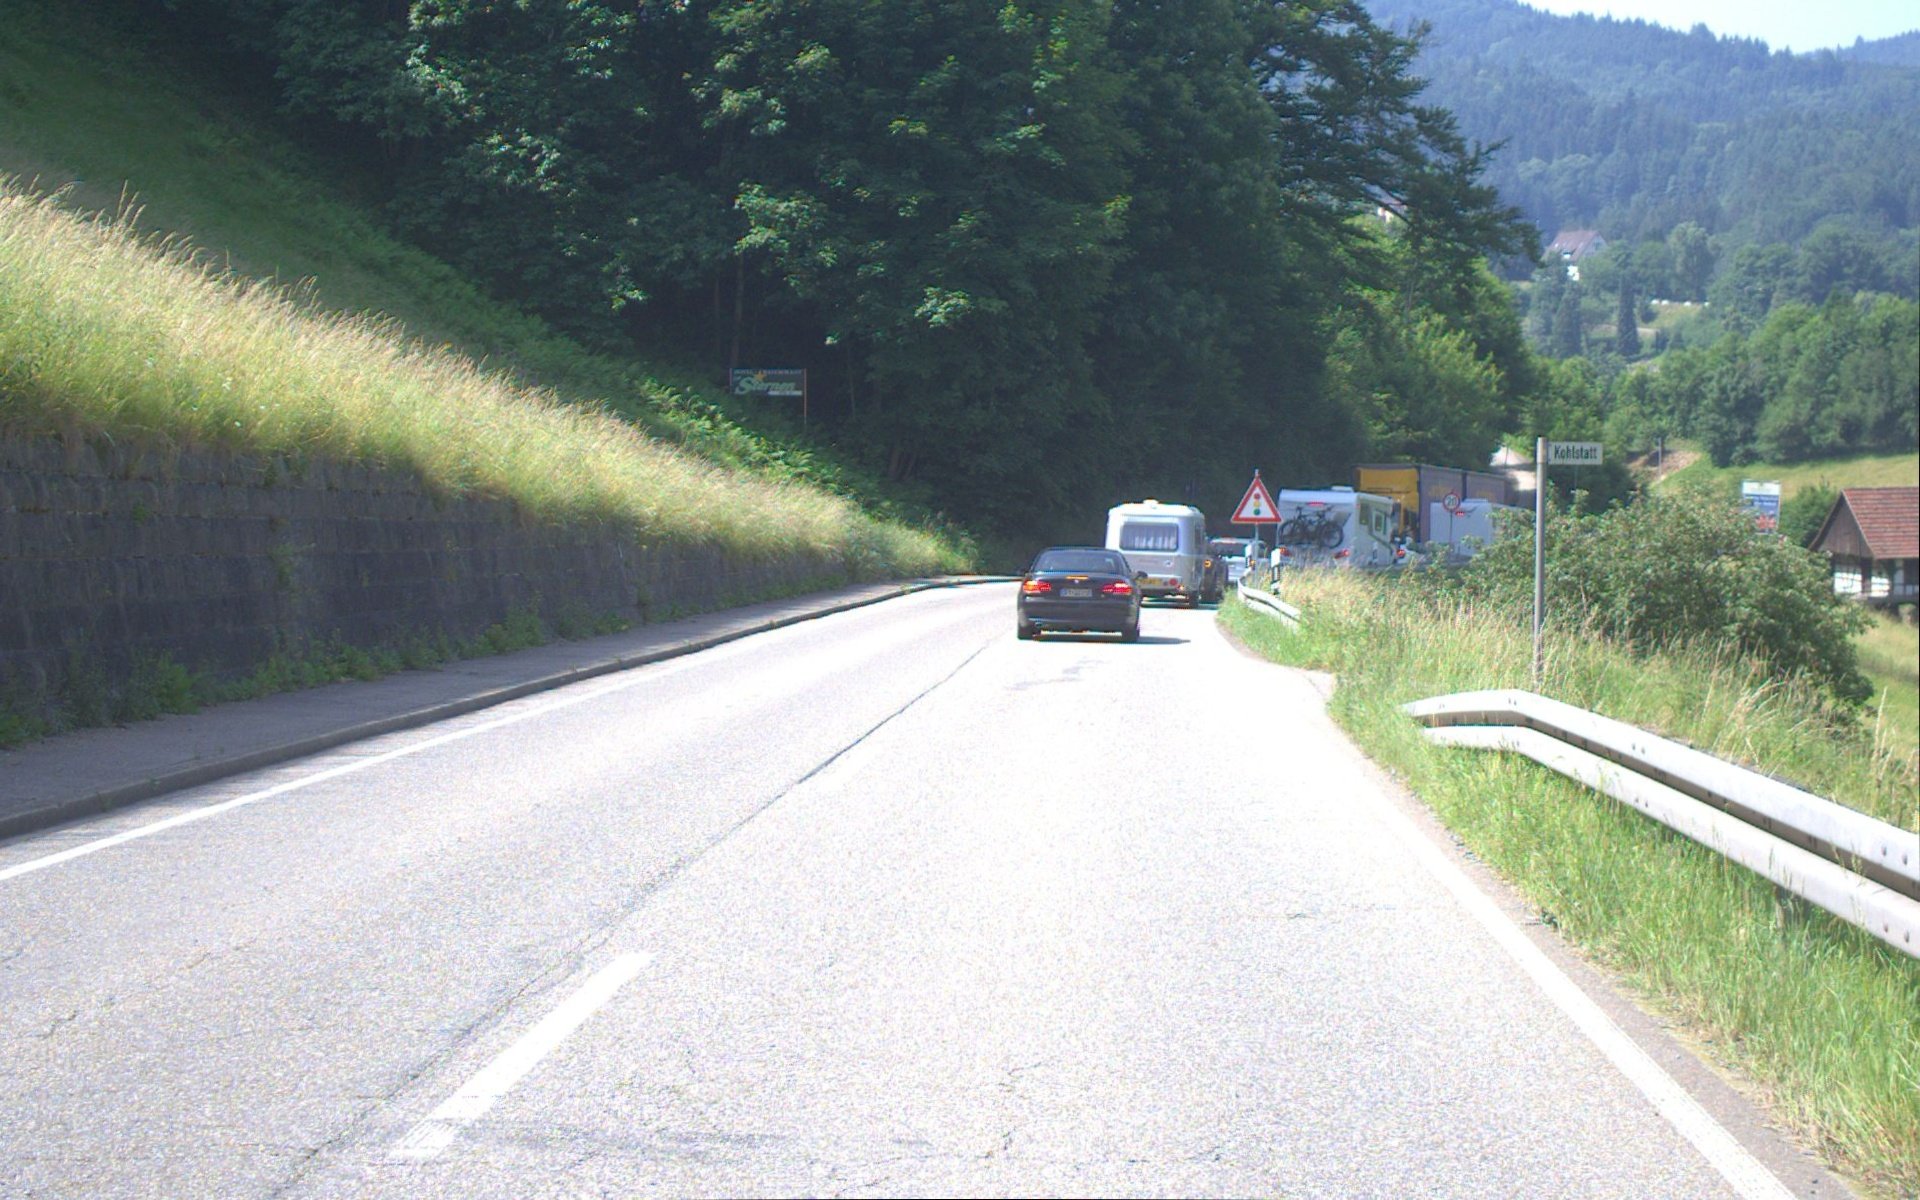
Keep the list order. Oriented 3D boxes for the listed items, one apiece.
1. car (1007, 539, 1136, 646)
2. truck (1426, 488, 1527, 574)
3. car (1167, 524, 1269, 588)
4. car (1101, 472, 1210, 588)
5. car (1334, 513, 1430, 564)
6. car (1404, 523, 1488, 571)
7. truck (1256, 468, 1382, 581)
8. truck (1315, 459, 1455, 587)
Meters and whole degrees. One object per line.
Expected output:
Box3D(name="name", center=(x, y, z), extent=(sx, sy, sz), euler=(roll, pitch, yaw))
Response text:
Box3D(name="car", center=(1.631, -0.140, 50.427), extent=(1.771, 1.331, 3.767), euler=(2, 3, 2))
Box3D(name="truck", center=(18.299, -2.417, 121.488), extent=(2.240, 2.794, 6.226), euler=(3, 1, 19))
Box3D(name="car", center=(6.649, -1.145, 88.115), extent=(1.995, 1.479, 3.998), euler=(4, 2, 12))
Box3D(name="car", center=(4.320, -1.578, 75.306), extent=(1.994, 2.344, 4.913), euler=(2, 3, 7))
Box3D(name="car", center=(13.318, -1.942, 108.262), extent=(1.996, 1.459, 3.996), euler=(5, 3, 21))
Box3D(name="car", center=(16.267, -1.792, 114.936), extent=(1.790, 1.459, 3.995), euler=(5, 3, 22))
Box3D(name="truck", center=(10.500, -2.234, 100.121), extent=(2.792, 2.987, 6.865), euler=(4, 2, 11))
Box3D(name="truck", center=(15.477, -2.807, 124.757), extent=(3.192, 4.381, 6.564), euler=(4, 3, 22))
